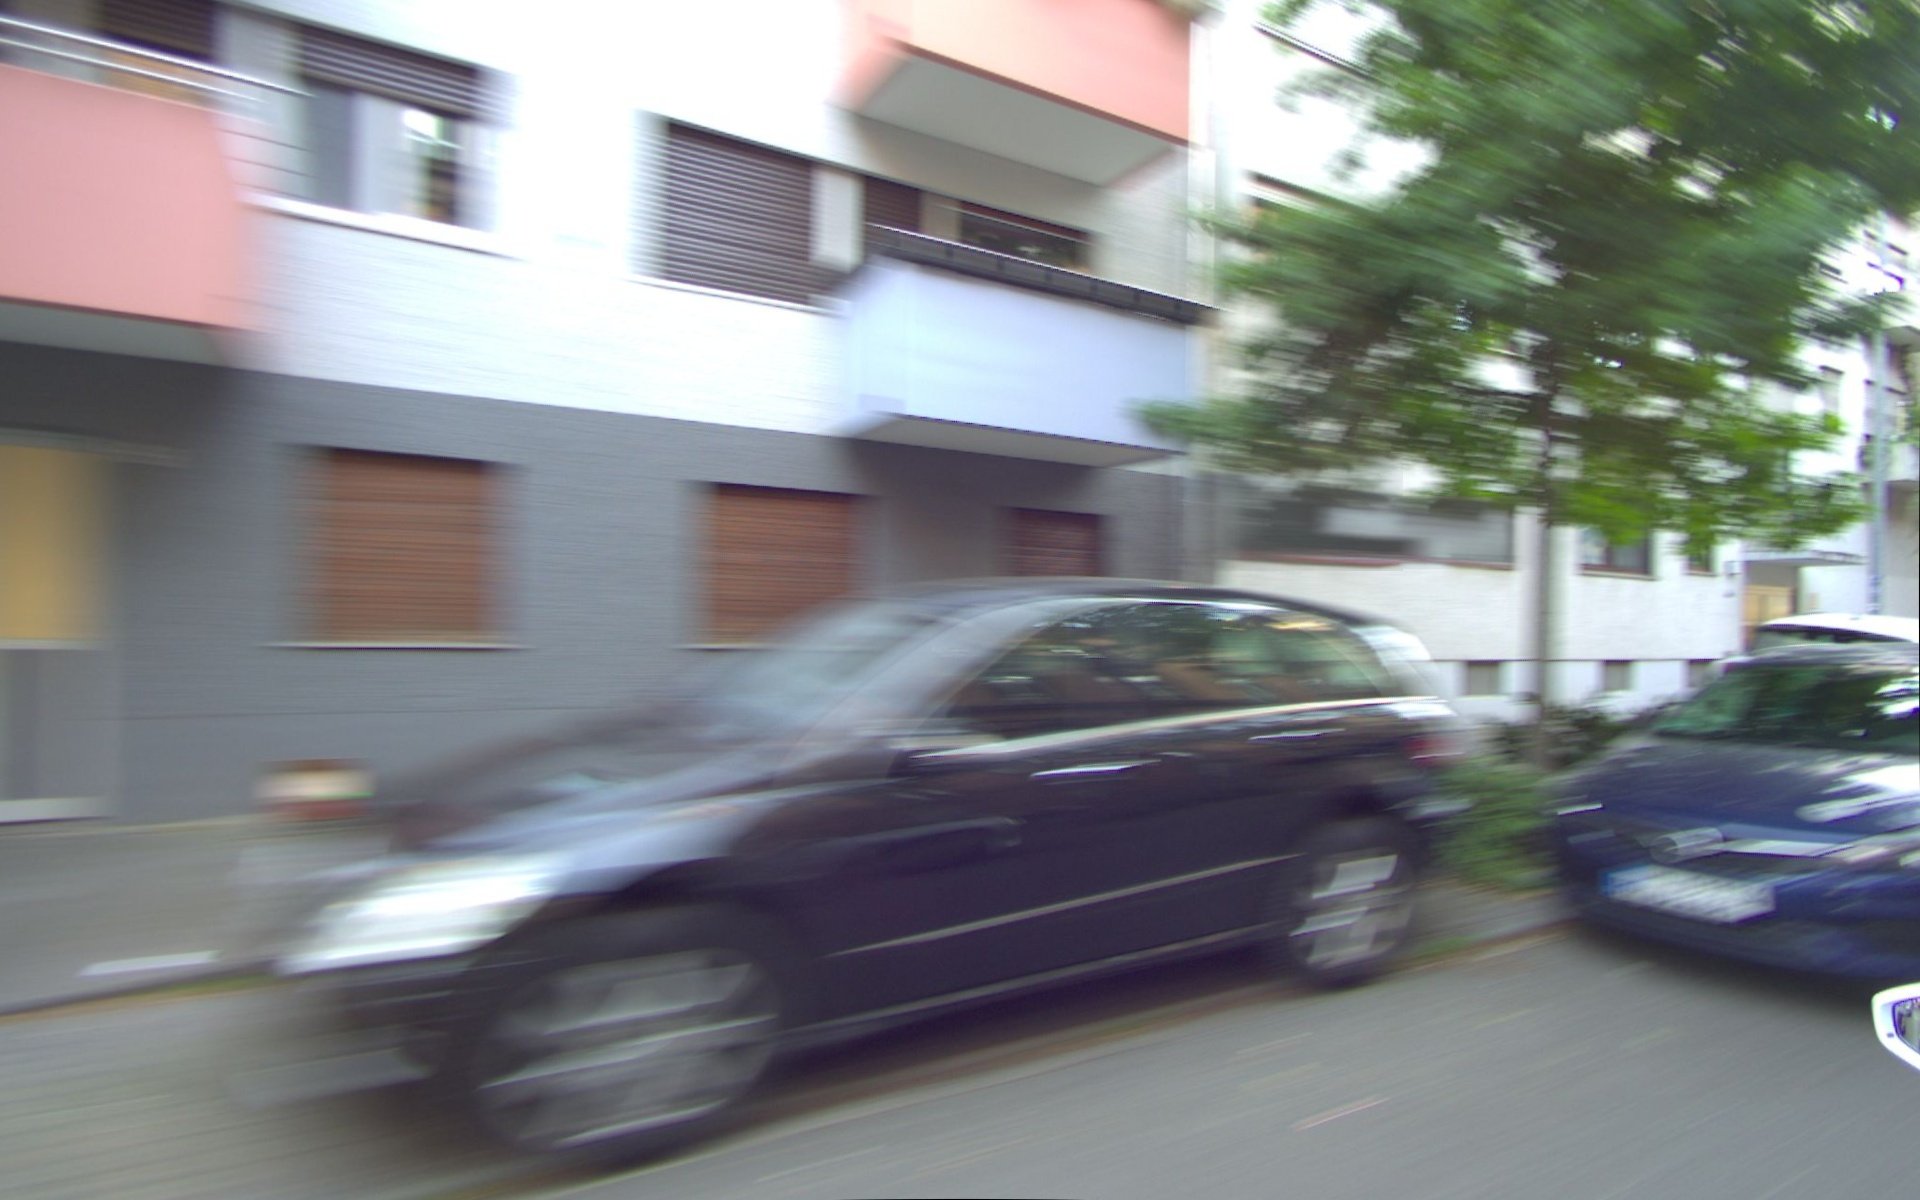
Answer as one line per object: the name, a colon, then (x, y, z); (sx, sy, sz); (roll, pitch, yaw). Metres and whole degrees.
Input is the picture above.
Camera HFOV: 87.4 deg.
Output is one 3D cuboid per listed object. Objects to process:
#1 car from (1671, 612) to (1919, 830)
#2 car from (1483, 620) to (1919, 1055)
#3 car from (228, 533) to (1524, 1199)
car: (9.487, 1.054, 10.181); (4.595, 1.695, 2.023); (1, 2, -31)
car: (4.981, 0.928, 5.380); (4.464, 1.537, 1.821); (2, -1, -31)
car: (0.017, 0.727, 4.297); (4.865, 1.668, 1.984); (2, 1, -31)
